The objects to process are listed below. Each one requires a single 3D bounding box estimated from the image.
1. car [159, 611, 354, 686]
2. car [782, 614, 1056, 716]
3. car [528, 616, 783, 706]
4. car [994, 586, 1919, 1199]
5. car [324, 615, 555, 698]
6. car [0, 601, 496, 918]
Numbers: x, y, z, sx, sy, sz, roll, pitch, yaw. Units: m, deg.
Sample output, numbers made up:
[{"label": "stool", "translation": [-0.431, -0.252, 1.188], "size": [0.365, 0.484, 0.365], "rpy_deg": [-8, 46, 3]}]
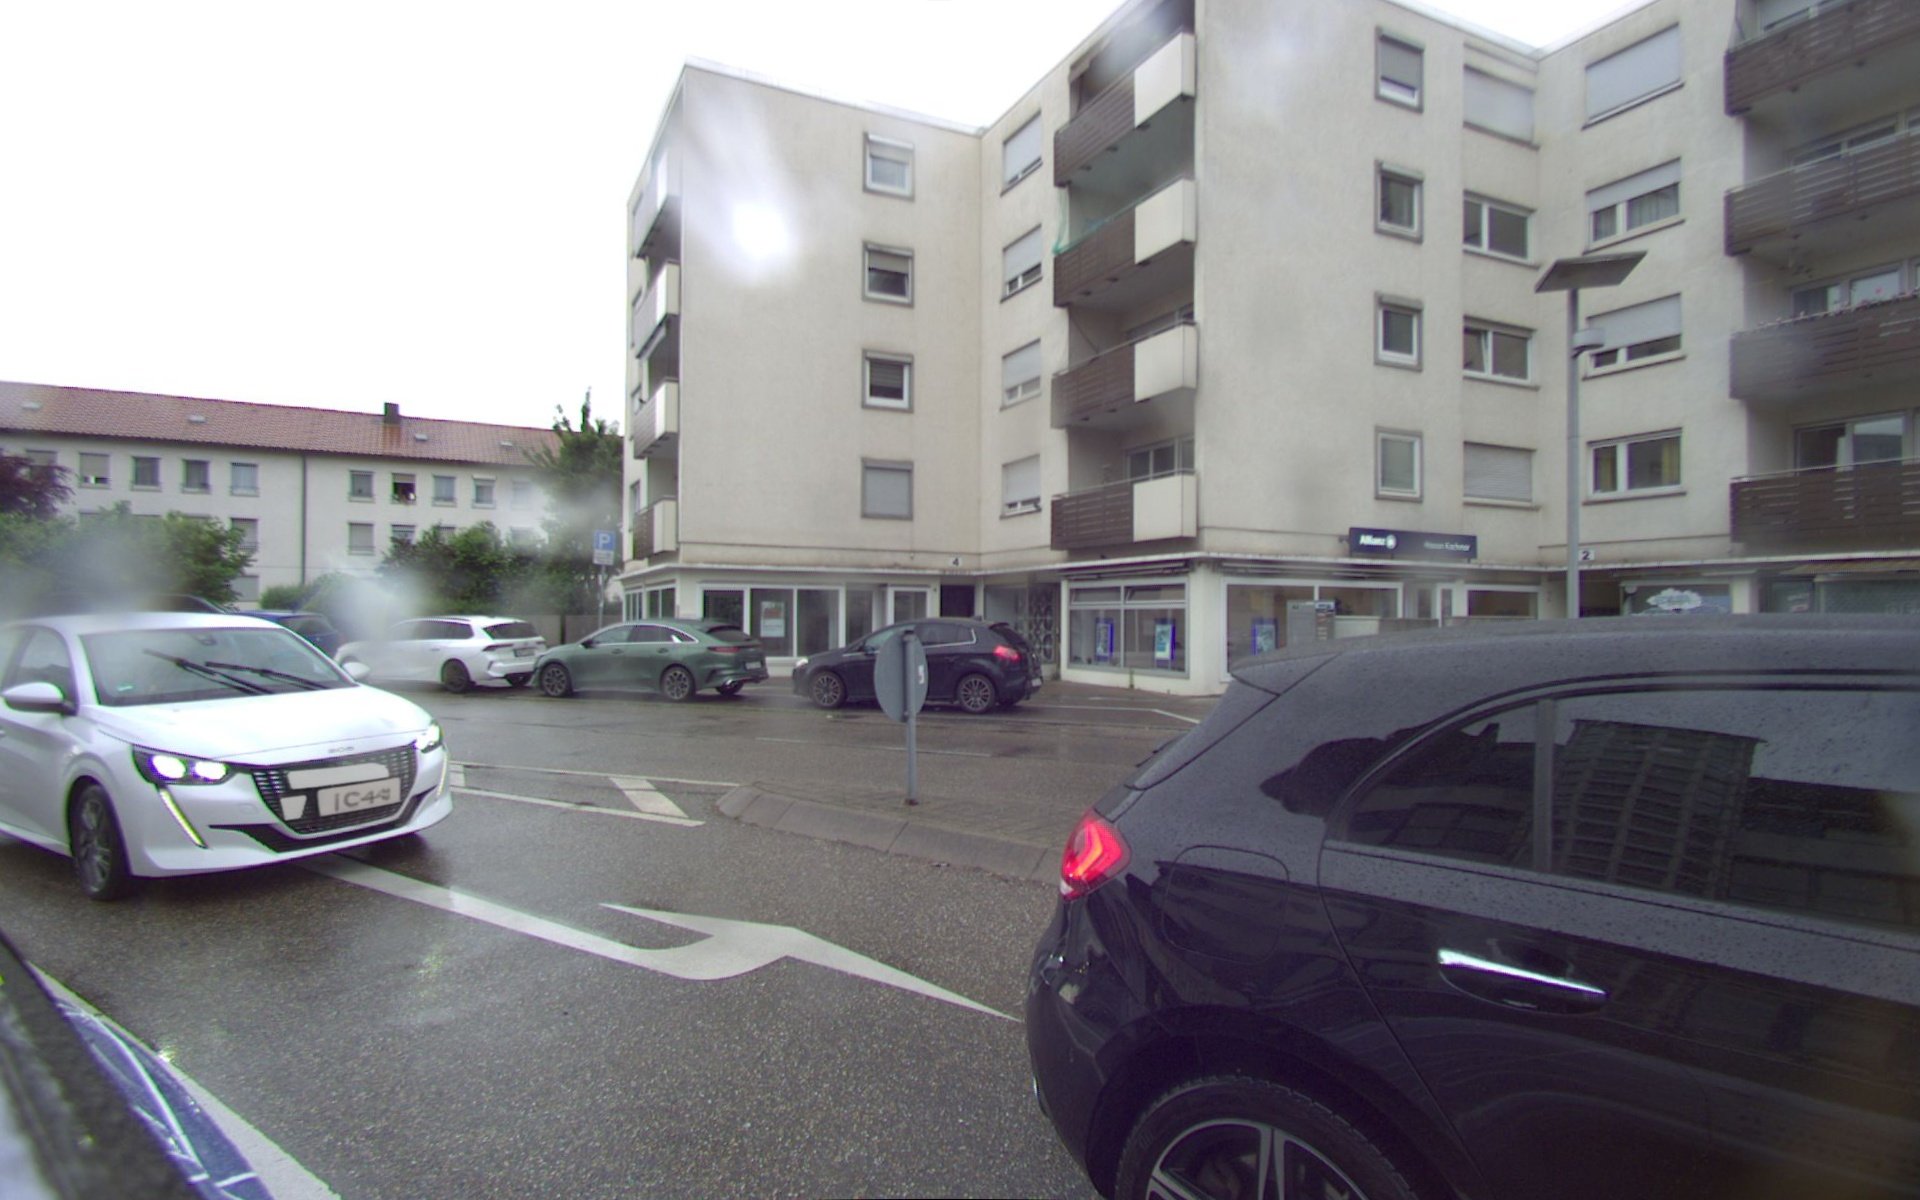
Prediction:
[{"label": "car", "translation": [-15.540, 1.021, 22.365], "size": [3.852, 1.517, 1.623], "rpy_deg": [0, -1, 20]}, {"label": "car", "translation": [-0.660, 0.990, 16.646], "size": [4.156, 1.471, 1.825], "rpy_deg": [0, 0, 20]}, {"label": "car", "translation": [-5.555, 1.053, 18.534], "size": [4.241, 1.445, 1.826], "rpy_deg": [0, 0, 19]}, {"label": "car", "translation": [2.173, 0.709, 1.325], "size": [4.090, 1.492, 1.646], "rpy_deg": [-2, -1, 40]}, {"label": "car", "translation": [-10.442, 1.076, 20.320], "size": [4.313, 1.511, 1.627], "rpy_deg": [0, -1, 20]}, {"label": "car", "translation": [-4.917, 0.756, 6.331], "size": [3.880, 1.420, 1.727], "rpy_deg": [-1, 0, 30]}]
